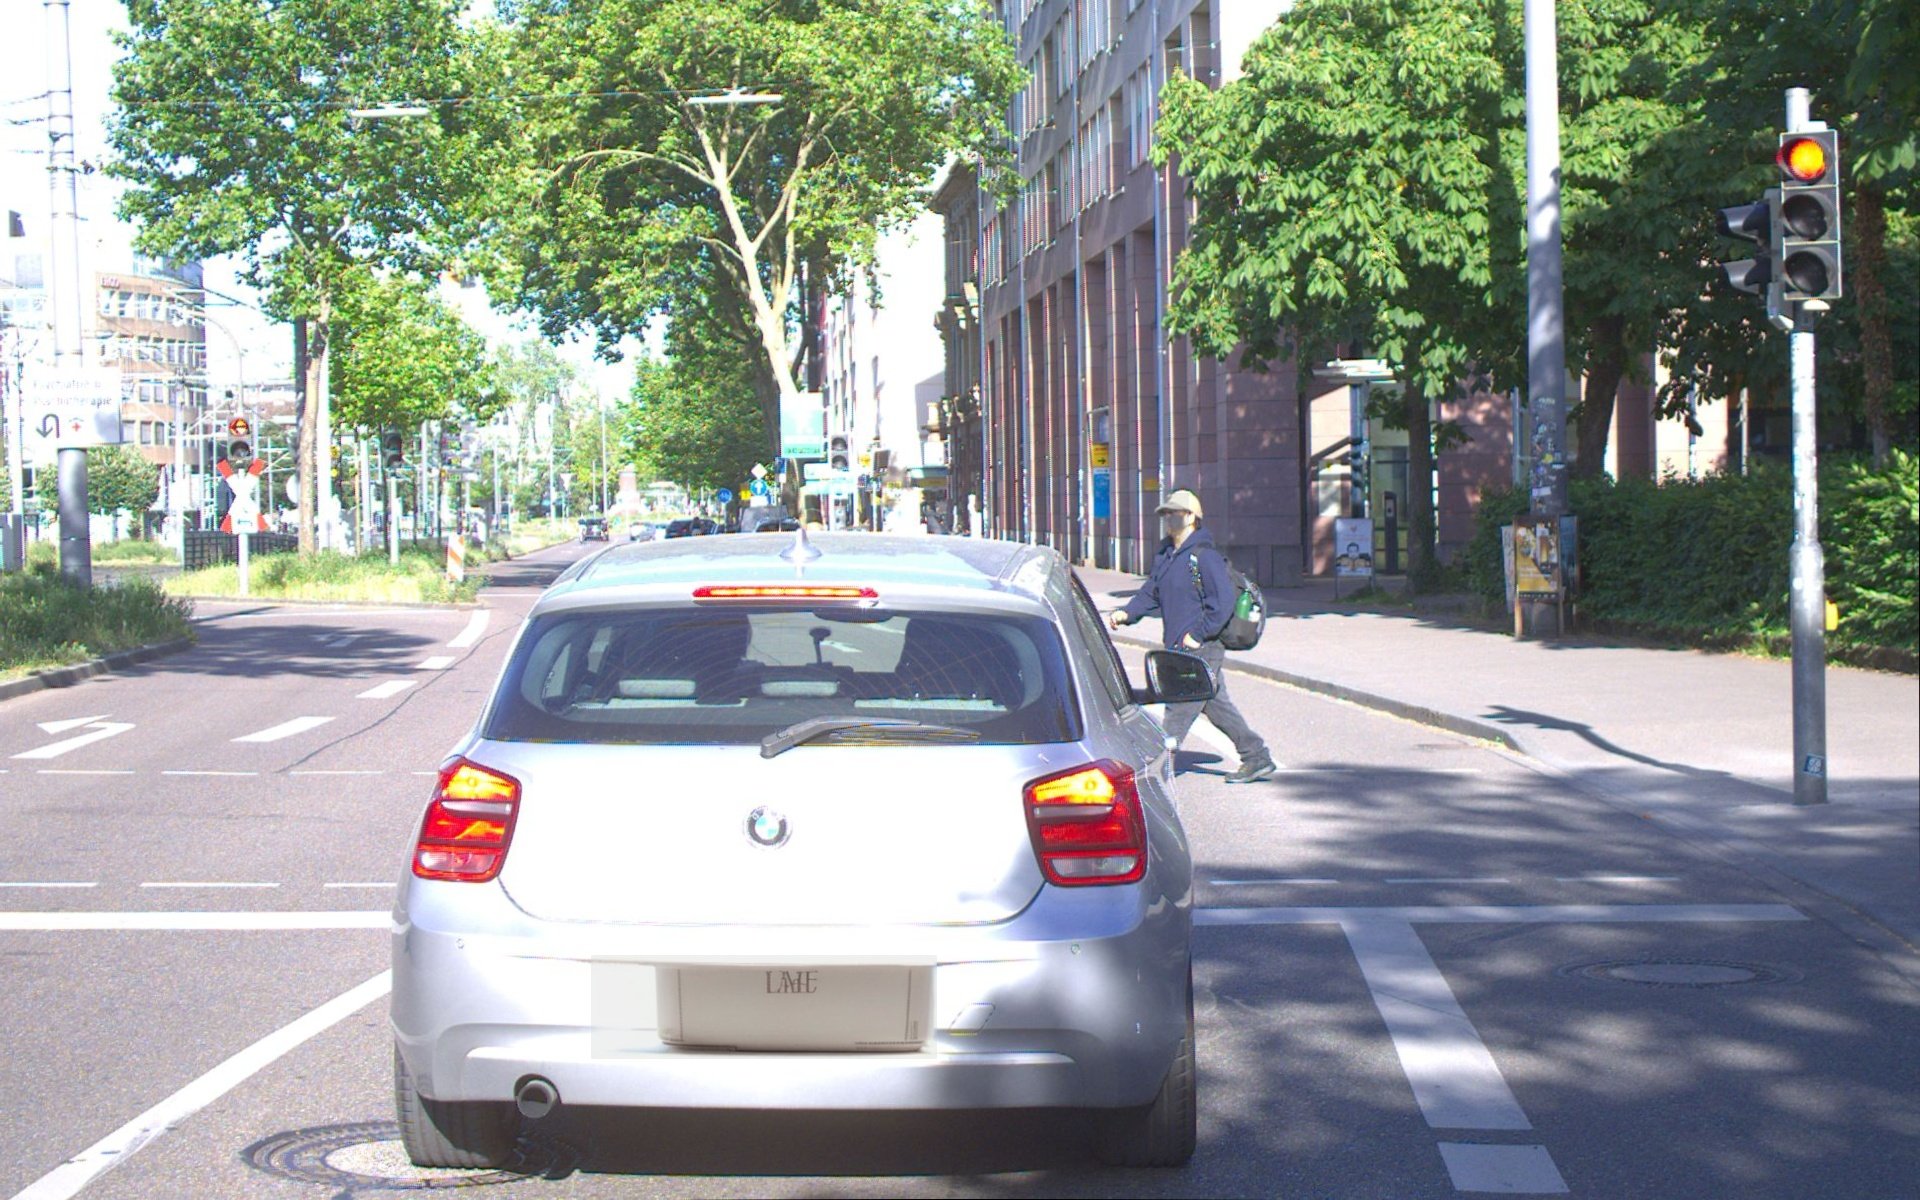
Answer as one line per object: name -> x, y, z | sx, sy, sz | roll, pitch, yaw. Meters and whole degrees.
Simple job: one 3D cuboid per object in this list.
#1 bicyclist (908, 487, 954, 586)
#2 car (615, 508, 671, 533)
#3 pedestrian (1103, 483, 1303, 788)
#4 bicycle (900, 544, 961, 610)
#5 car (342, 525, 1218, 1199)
bicyclist -> -0.490, -1.071, 57.772 | 0.658, 1.651, 0.765 | -1, 1, 5
car -> -19.774, -4.956, 214.304 | 1.993, 1.481, 4.000 | -2, 2, -30
pedestrian -> 1.315, 0.180, 18.721 | 0.940, 1.623, 0.629 | 0, 1, -13
bicycle -> -0.482, -0.400, 57.806 | 0.831, 1.038, 1.874 | -1, 2, 5
car -> -0.268, 0.548, 8.724 | 1.730, 1.385, 3.840 | 1, 2, 3
